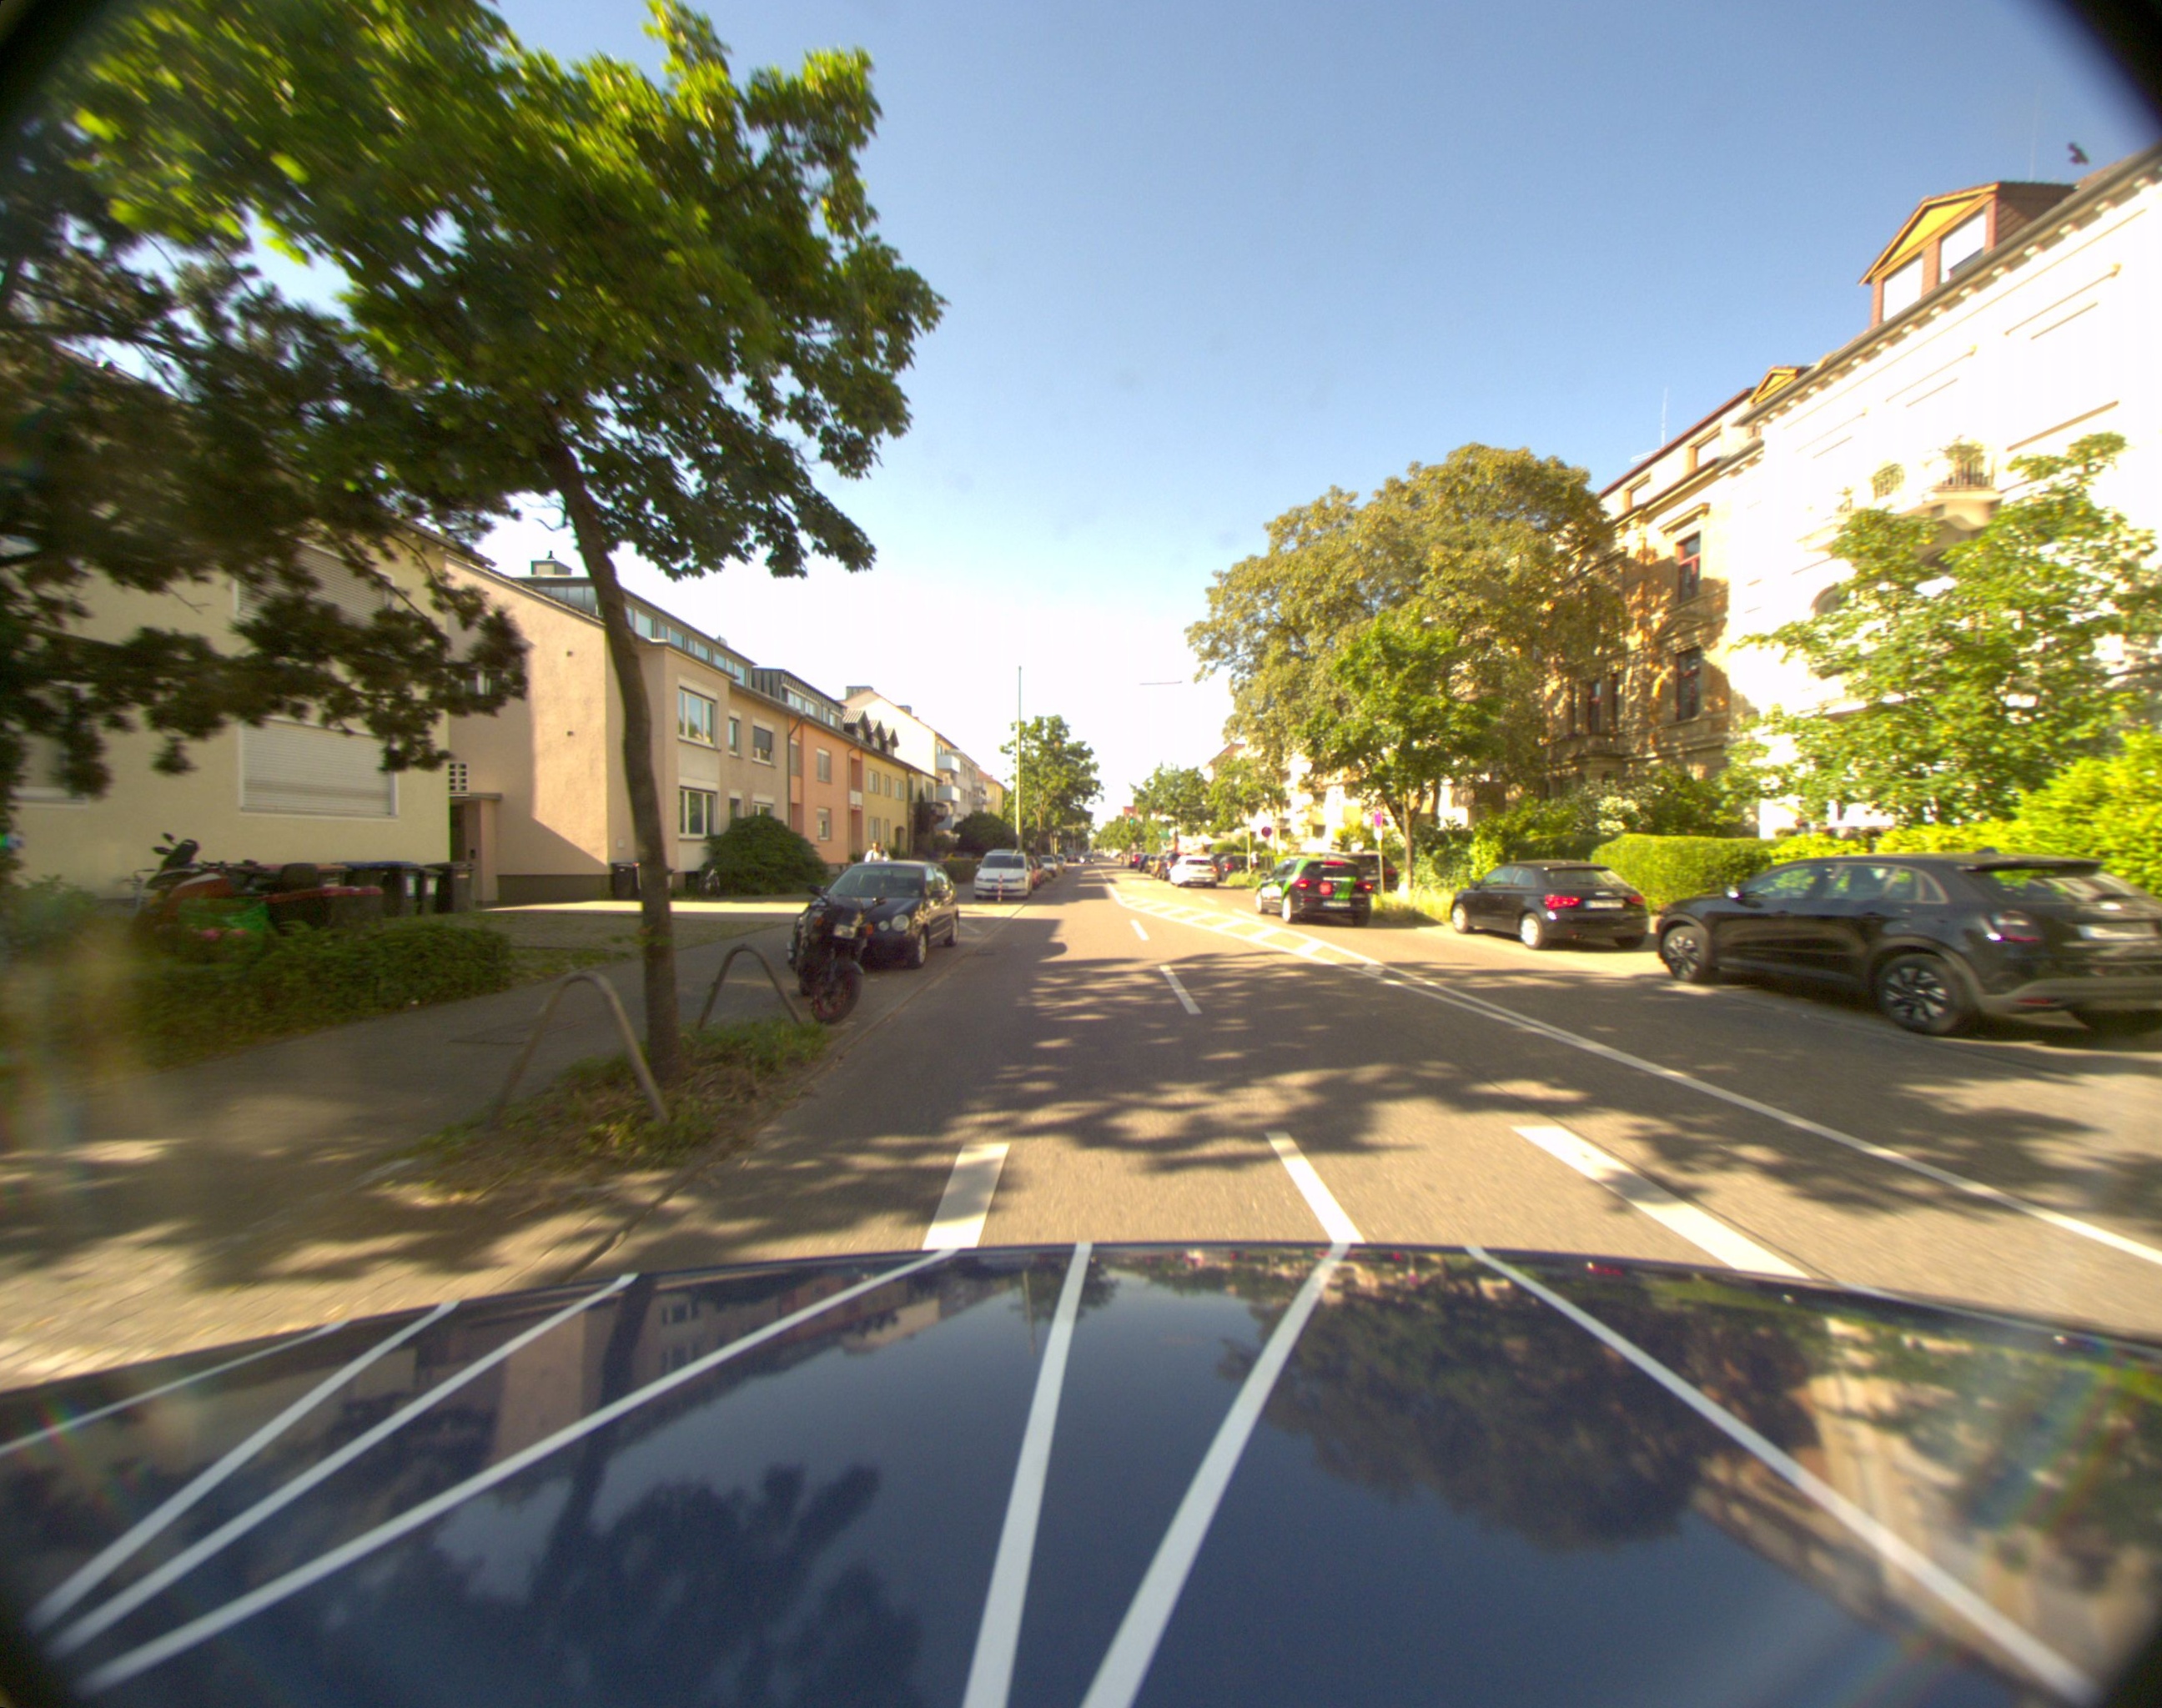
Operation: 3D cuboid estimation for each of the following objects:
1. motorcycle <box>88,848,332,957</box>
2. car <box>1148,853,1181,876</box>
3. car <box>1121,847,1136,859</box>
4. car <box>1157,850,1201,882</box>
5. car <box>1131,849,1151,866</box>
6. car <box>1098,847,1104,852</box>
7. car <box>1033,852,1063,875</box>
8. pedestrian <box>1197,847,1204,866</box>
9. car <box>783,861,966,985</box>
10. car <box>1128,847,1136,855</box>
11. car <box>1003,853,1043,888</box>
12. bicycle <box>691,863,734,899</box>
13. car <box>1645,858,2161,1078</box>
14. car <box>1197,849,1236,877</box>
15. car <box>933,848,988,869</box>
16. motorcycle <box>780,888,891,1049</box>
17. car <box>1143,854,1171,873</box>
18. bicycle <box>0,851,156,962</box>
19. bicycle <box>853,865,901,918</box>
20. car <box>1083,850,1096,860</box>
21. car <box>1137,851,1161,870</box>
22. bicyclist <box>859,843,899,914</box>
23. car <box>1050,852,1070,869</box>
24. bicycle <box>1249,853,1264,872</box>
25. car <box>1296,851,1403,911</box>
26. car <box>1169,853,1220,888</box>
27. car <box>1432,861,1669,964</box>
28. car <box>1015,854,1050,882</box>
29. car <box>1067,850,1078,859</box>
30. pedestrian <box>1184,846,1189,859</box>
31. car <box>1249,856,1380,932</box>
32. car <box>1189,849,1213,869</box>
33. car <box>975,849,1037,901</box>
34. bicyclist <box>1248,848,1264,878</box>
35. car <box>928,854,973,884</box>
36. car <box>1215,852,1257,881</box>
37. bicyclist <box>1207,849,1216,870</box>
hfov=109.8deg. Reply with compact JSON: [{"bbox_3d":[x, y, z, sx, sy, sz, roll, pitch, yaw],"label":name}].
[{"bbox_3d":[-12.156,0.604,10.774,0.638,1.368,2.425,1,0,1],"label":"motorcycle"},{"bbox_3d":[5.415,0.648,49.674,1.585,1.443,3.744,0,0,-2],"label":"car"},{"bbox_3d":[6.199,-0.154,99.393,1.702,1.398,4.505,2,1,0],"label":"car"},{"bbox_3d":[5.415,0.618,42.541,1.841,1.604,4.400,2,0,0],"label":"car"},{"bbox_3d":[6.022,0.326,76.716,1.726,1.607,4.300,3,0,1],"label":"car"},{"bbox_3d":[6.986,-1.594,264.766,1.966,1.911,5.496,0,1,1],"label":"car"},{"bbox_3d":[-2.142,0.611,50.528,1.653,1.395,3.970,2,0,2],"label":"car"},{"bbox_3d":[10.399,0.175,66.335,0.470,1.641,0.719,-1,1,1],"label":"pedestrian"},{"bbox_3d":[-2.873,0.885,11.372,1.624,1.490,3.649,1,0,2],"label":"car"},{"bbox_3d":[9.200,-0.586,136.411,1.322,1.348,3.093,0,1,1],"label":"car"},{"bbox_3d":[-2.524,0.708,33.802,1.536,1.441,3.717,0,0,-1],"label":"car"},{"bbox_3d":[-11.455,0.815,23.652,0.456,0.987,1.742,2,2,1],"label":"bicycle"},{"bbox_3d":[7.887,0.847,7.553,1.682,1.546,4.007,-1,0,2],"label":"car"},{"bbox_3d":[8.192,0.525,46.246,1.674,1.596,4.394,-1,1,1],"label":"car"},{"bbox_3d":[-9.452,0.321,59.745,3.997,1.433,1.831,3,1,1],"label":"car"},{"bbox_3d":[-2.588,1.044,7.796,0.701,1.264,2.426,1,1,-27],"label":"motorcycle"},{"bbox_3d":[5.807,0.704,58.296,1.639,1.395,3.735,2,1,-1],"label":"car"},{"bbox_3d":[-13.077,0.620,9.271,0.599,1.296,2.425,1,0,1],"label":"bicycle"},{"bbox_3d":[-5.218,0.930,19.532,0.699,1.239,1.822,1,1,1],"label":"bicycle"},{"bbox_3d":[1.180,0.107,100.955,1.654,1.348,4.304,0,1,1],"label":"car"},{"bbox_3d":[5.803,0.524,64.894,1.660,1.508,4.076,2,1,1],"label":"car"},{"bbox_3d":[-5.210,0.620,19.613,0.726,1.783,1.015,1,1,1],"label":"bicyclist"},{"bbox_3d":[-1.816,0.572,67.416,1.571,1.448,3.865,1,1,1],"label":"car"},{"bbox_3d":[10.488,0.503,45.490,0.450,1.109,1.764,-2,1,0],"label":"bicycle"},{"bbox_3d":[7.946,0.737,22.913,1.629,1.579,4.347,-2,0,0],"label":"car"},{"bbox_3d":[5.140,0.721,34.977,1.737,1.404,4.192,2,1,1],"label":"car"},{"bbox_3d":[7.926,0.888,13.341,1.641,1.408,4.089,-2,0,1],"label":"car"},{"bbox_3d":[-2.497,0.679,39.423,1.535,1.348,3.717,0,0,1],"label":"car"},{"bbox_3d":[-1.394,0.083,128.925,1.822,1.542,4.304,0,1,1],"label":"car"},{"bbox_3d":[14.328,-0.213,103.124,0.659,1.649,0.682,0,1,2],"label":"pedestrian"},{"bbox_3d":[5.233,0.825,17.601,1.696,1.445,4.173,2,0,0],"label":"car"},{"bbox_3d":[9.387,0.351,59.608,1.404,1.480,3.685,-1,0,2],"label":"car"},{"bbox_3d":[-2.557,0.679,26.715,1.773,1.649,4.340,1,0,-1],"label":"car"},{"bbox_3d":[10.485,0.551,45.516,0.584,1.756,1.208,-2,1,0],"label":"bicyclist"},{"bbox_3d":[-6.493,0.704,38.059,1.535,1.348,3.717,2,0,1],"label":"car"},{"bbox_3d":[8.335,0.642,41.012,1.605,1.468,3.931,-1,1,2],"label":"car"},{"bbox_3d":[10.504,0.437,60.991,0.610,1.744,0.691,0,1,1],"label":"bicyclist"}]
